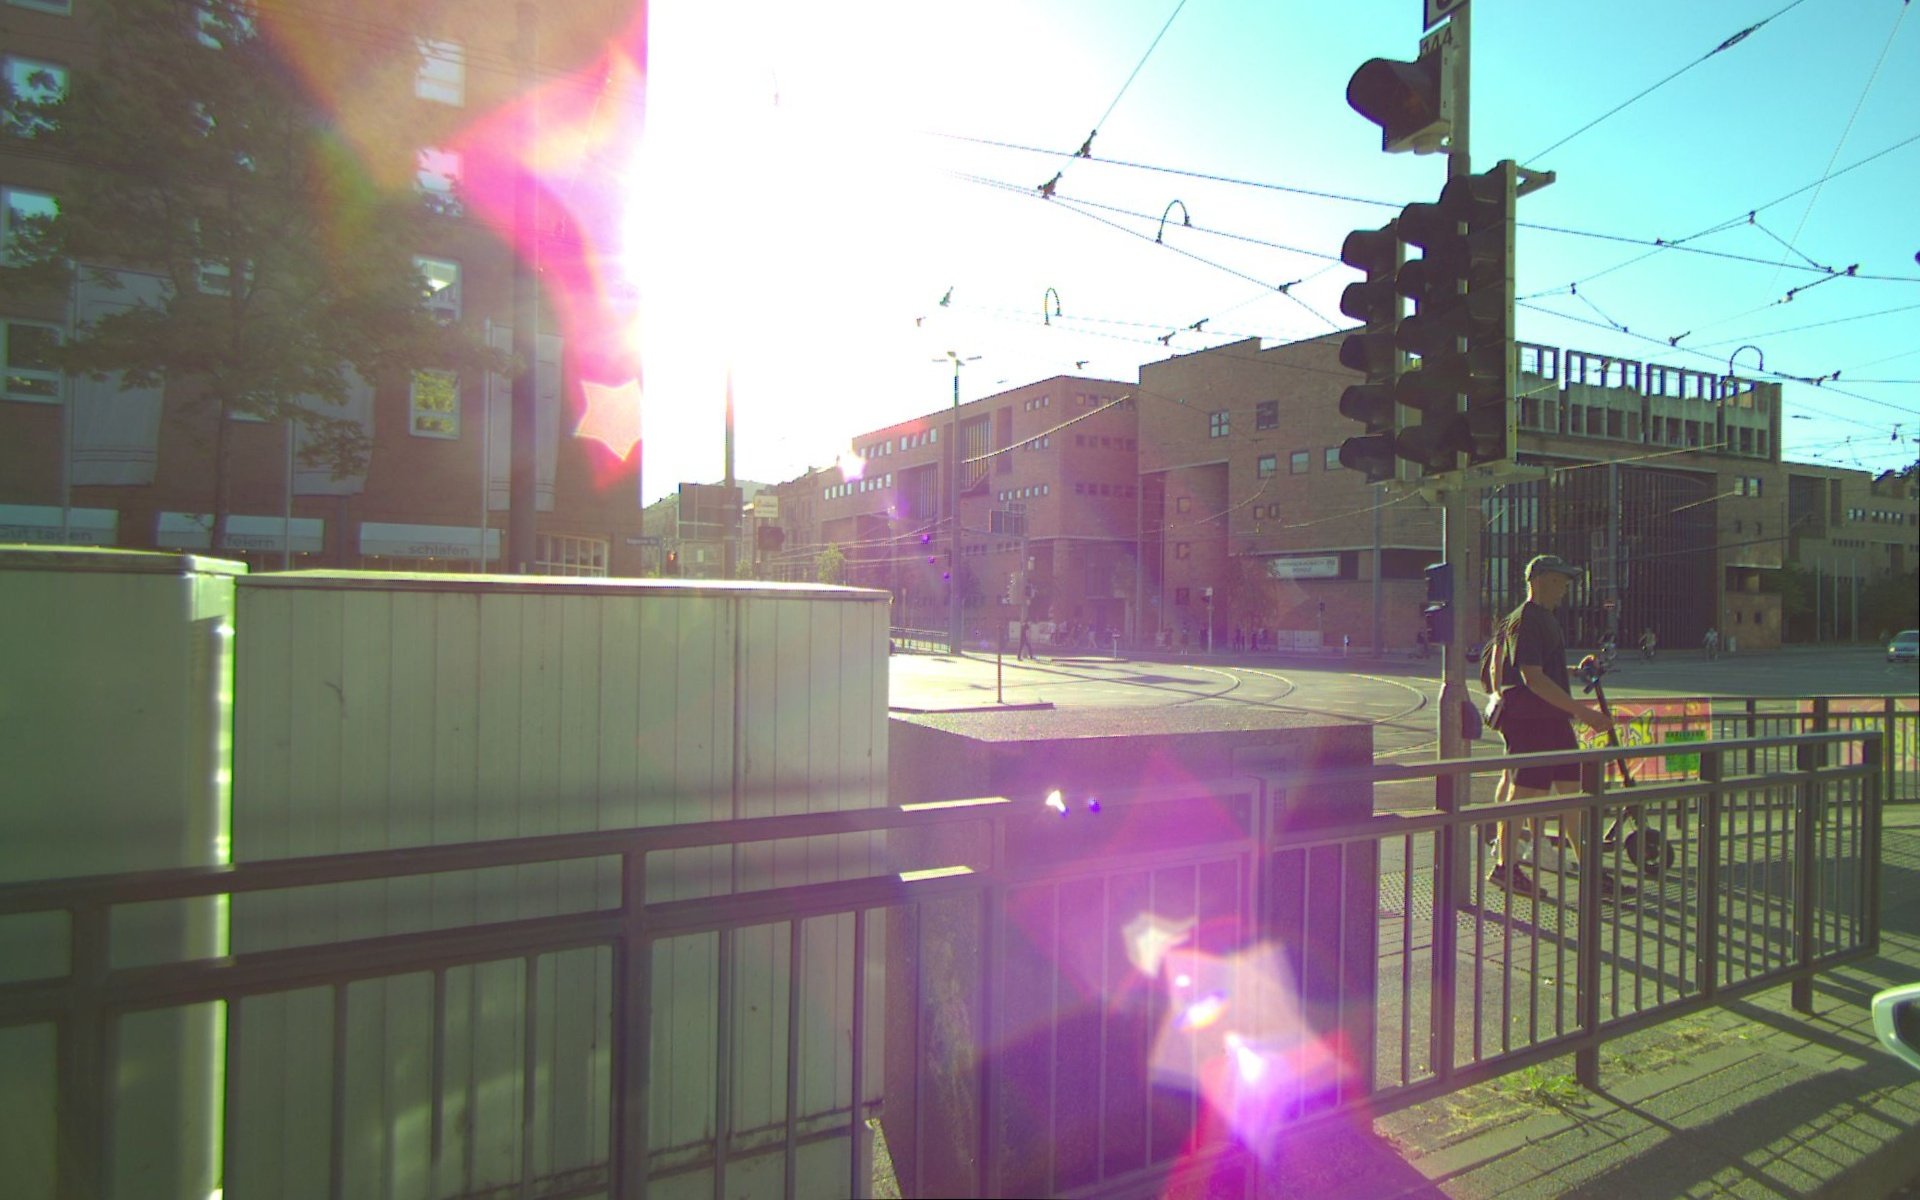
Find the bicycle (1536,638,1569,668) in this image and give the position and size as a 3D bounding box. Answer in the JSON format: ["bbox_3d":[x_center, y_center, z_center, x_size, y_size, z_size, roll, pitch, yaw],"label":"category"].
[{"bbox_3d":[24.866,2.202,42.140,0.678,1.157,2.097,-1,0,45],"label":"bicycle"}]

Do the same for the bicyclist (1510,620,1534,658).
[{"bbox_3d":[23.837,1.641,42.627,0.752,1.595,0.655,1,-2,-40],"label":"bicyclist"}]

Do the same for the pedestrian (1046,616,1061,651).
[{"bbox_3d":[5.596,1.999,60.160,0.607,2.040,0.727,1,-1,-32],"label":"pedestrian"}]

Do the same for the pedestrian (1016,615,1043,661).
[{"bbox_3d":[2.969,1.622,42.823,0.866,1.927,0.718,2,0,-33],"label":"pedestrian"}]

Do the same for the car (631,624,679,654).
[{"bbox_3d":[-18.254,2.291,59.999,1.738,1.750,3.965,1,-2,-32],"label":"car"}]

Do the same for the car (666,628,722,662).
[{"bbox_3d":[-14.333,2.393,53.972,1.739,1.750,3.963,1,-2,-33],"label":"car"}]

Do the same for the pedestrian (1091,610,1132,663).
[{"bbox_3d":[6.003,1.435,39.818,1.193,2.040,1.028,2,0,-30],"label":"pedestrian"}]

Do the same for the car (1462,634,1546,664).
[{"bbox_3d":[26.495,2.388,48.955,3.658,1.394,1.579,1,-1,-19],"label":"car"}]

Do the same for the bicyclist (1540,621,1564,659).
[{"bbox_3d":[24.831,1.665,42.107,0.754,1.581,0.675,-1,0,-45],"label":"bicyclist"}]

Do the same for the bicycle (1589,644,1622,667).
[{"bbox_3d":[30.189,2.588,46.960,1.884,1.011,0.688,1,-2,-37],"label":"bicycle"}]

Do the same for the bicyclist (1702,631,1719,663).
[{"bbox_3d":[39.494,2.471,52.882,0.509,1.647,0.583,1,-1,-35],"label":"bicyclist"}]

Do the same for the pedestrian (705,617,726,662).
[{"bbox_3d":[-11.138,1.777,45.731,0.597,2.040,0.848,1,-1,-38],"label":"pedestrian"}]

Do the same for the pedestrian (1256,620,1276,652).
[{"bbox_3d":[20.073,2.372,65.903,0.841,2.079,1.001,1,-1,-32],"label":"pedestrian"}]

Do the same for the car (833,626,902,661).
[{"bbox_3d":[-4.819,2.231,51.809,1.978,1.709,3.965,1,-2,-33],"label":"car"}]

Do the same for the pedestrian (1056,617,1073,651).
[{"bbox_3d":[6.270,2.025,60.135,0.644,2.040,0.780,1,-1,-32],"label":"pedestrian"}]

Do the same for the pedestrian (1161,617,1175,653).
[{"bbox_3d":[11.807,1.966,56.980,0.603,2.040,0.731,0,-1,30],"label":"pedestrian"}]

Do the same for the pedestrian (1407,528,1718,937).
[{"bbox_3d":[3.189,0.636,5.411,0.843,1.908,1.164,1,-1,-25],"label":"pedestrian"}]

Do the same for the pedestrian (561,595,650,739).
[{"bbox_3d":[-4.736,0.863,13.383,0.946,1.822,0.986,2,0,-29],"label":"pedestrian"}]

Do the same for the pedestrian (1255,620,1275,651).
[{"bbox_3d":[20.446,2.380,67.360,0.841,2.079,1.001,1,-1,-32],"label":"pedestrian"}]

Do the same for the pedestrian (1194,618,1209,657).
[{"bbox_3d":[13.044,2.021,54.141,0.603,2.040,0.731,0,-1,30],"label":"pedestrian"}]

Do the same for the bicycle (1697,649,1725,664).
[{"bbox_3d":[39.566,2.969,52.921,1.948,0.781,0.586,1,-2,-35],"label":"bicycle"}]

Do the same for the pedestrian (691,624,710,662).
[{"bbox_3d":[-12.558,2.061,48.550,0.597,1.843,0.848,1,-1,-38],"label":"pedestrian"}]

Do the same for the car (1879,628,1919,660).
[{"bbox_3d":[48.959,2.254,51.751,3.962,1.598,1.610,1,-2,-36],"label":"car"}]

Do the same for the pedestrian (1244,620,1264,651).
[{"bbox_3d":[19.506,2.349,66.689,0.841,2.079,1.001,1,-1,-32],"label":"pedestrian"}]

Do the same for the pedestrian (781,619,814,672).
[{"bbox_3d":[-5.482,1.526,33.833,0.860,1.775,0.670,1,-2,-39],"label":"pedestrian"}]

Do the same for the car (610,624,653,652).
[{"bbox_3d":[-21.459,2.431,65.526,1.738,1.750,3.965,1,-2,-32],"label":"car"}]

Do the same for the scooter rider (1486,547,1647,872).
[{"bbox_3d":[3.749,0.653,6.219,0.670,1.877,0.564,3,-2,-25],"label":"scooter rider"}]

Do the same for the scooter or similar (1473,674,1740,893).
[{"bbox_3d":[3.828,1.025,6.032,0.639,1.095,1.199,1,-1,-25],"label":"scooter or similar"}]

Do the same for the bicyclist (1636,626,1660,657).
[{"bbox_3d":[33.733,2.045,49.262,1.022,1.494,0.649,2,-1,-35],"label":"bicyclist"}]

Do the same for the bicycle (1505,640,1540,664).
[{"bbox_3d":[23.926,2.205,42.716,1.886,1.011,0.647,2,-2,-40],"label":"bicycle"}]

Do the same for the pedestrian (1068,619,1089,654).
[{"bbox_3d":[6.857,2.126,58.271,0.917,2.010,0.780,1,-1,-32],"label":"pedestrian"}]

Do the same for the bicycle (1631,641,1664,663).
[{"bbox_3d":[33.730,2.557,49.279,1.993,1.064,0.647,2,-1,-35],"label":"bicycle"}]

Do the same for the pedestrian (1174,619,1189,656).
[{"bbox_3d":[12.495,2.123,56.610,0.603,2.040,0.731,0,-1,30],"label":"pedestrian"}]

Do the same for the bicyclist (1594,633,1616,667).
[{"bbox_3d":[30.120,2.336,46.901,0.752,1.590,0.656,1,-2,-37],"label":"bicyclist"}]

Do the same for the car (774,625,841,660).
[{"bbox_3d":[-7.809,2.137,51.184,1.978,1.709,3.965,1,-2,-33],"label":"car"}]

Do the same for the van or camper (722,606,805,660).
[{"bbox_3d":[-9.430,1.561,47.957,1.981,2.451,4.980,1,-2,-36],"label":"van or camper"}]

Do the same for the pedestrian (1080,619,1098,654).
[{"bbox_3d":[7.548,2.149,58.755,0.742,2.010,0.780,1,-1,-32],"label":"pedestrian"}]

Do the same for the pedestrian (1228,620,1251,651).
[{"bbox_3d":[18.236,2.317,65.557,0.902,2.040,1.151,1,-1,-34],"label":"pedestrian"}]
